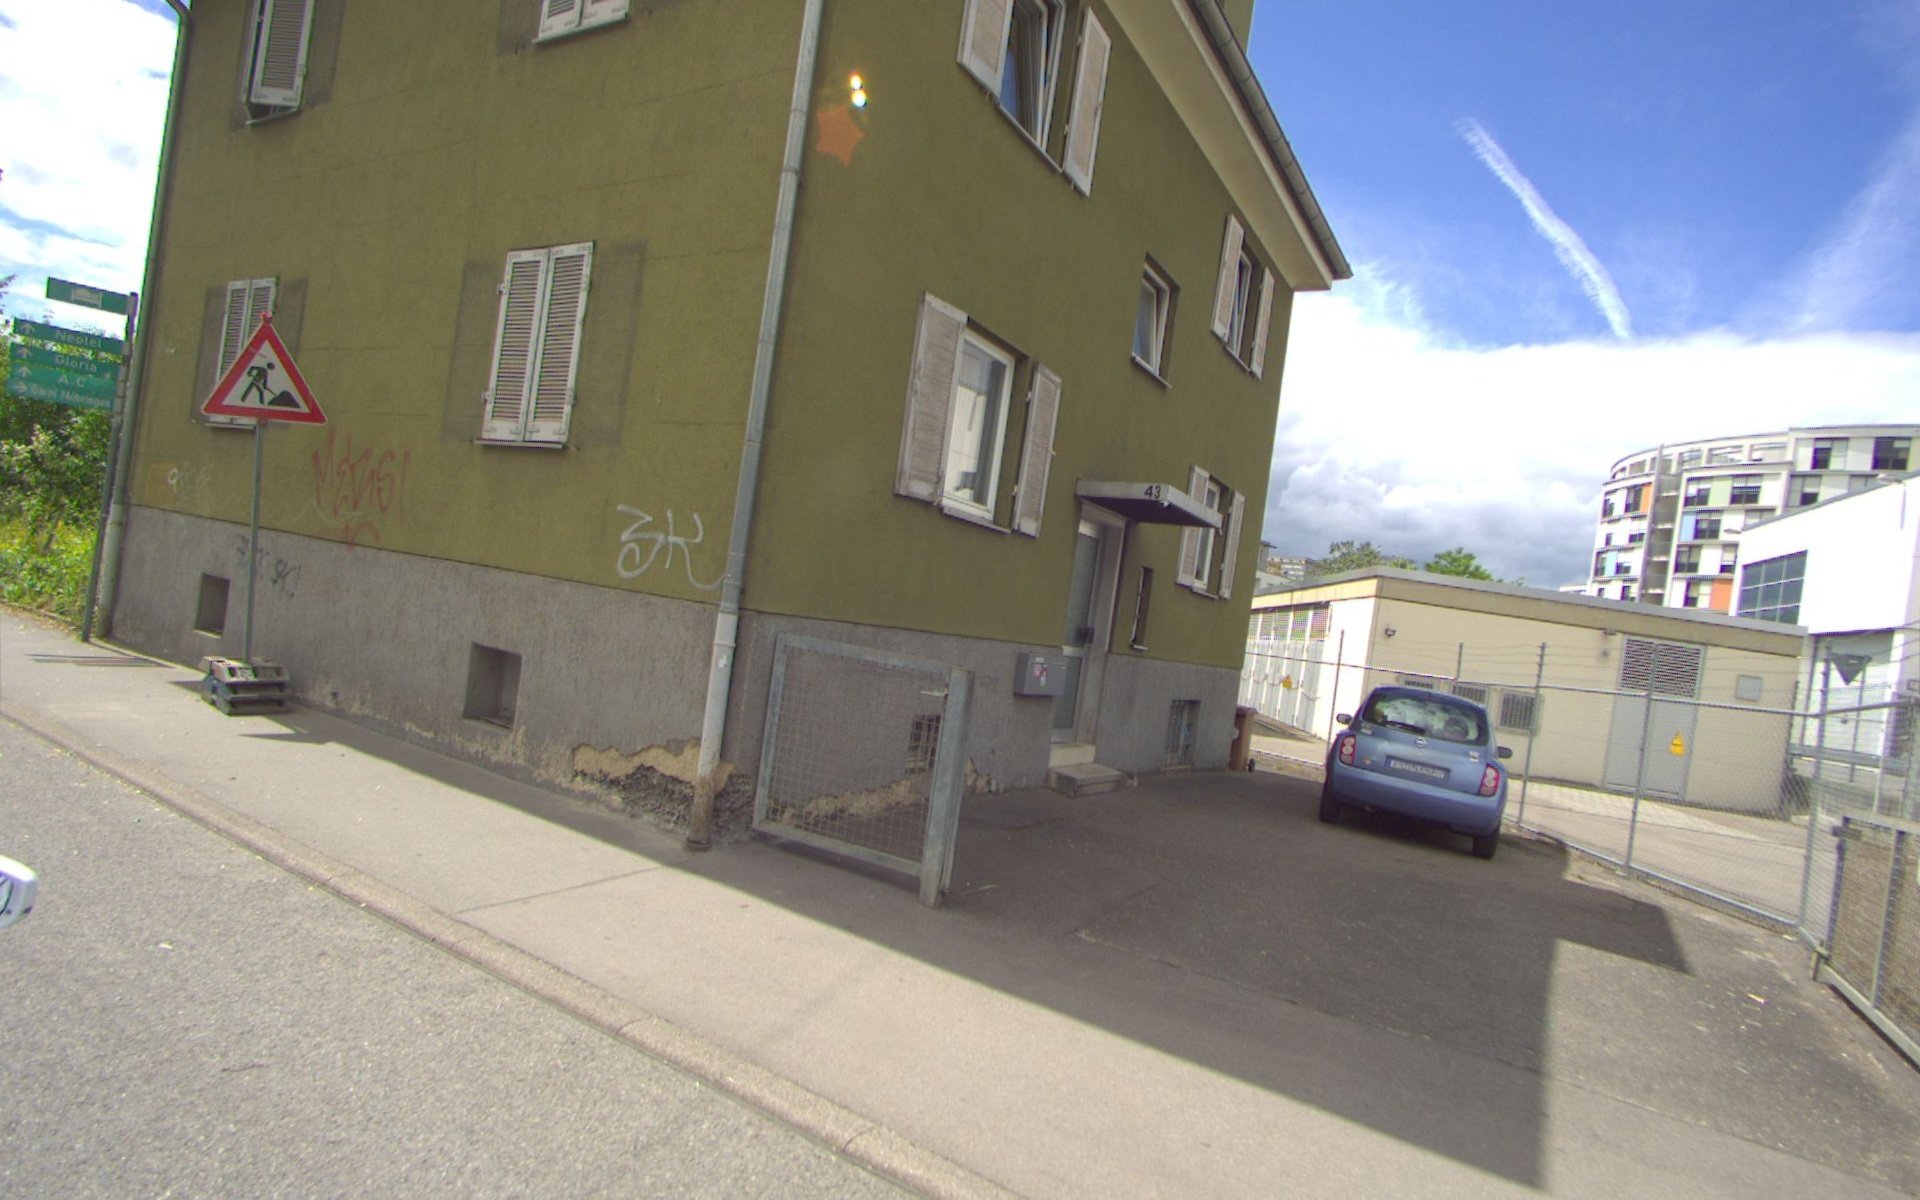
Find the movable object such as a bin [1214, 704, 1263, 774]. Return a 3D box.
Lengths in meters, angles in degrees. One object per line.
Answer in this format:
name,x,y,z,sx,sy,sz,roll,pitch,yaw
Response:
movable object such as a bin,4.033,2.008,14.571,0.445,0.930,0.482,7,-1,34

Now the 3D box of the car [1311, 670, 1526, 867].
car,5.002,1.715,10.984,1.629,1.511,3.516,9,-1,26
